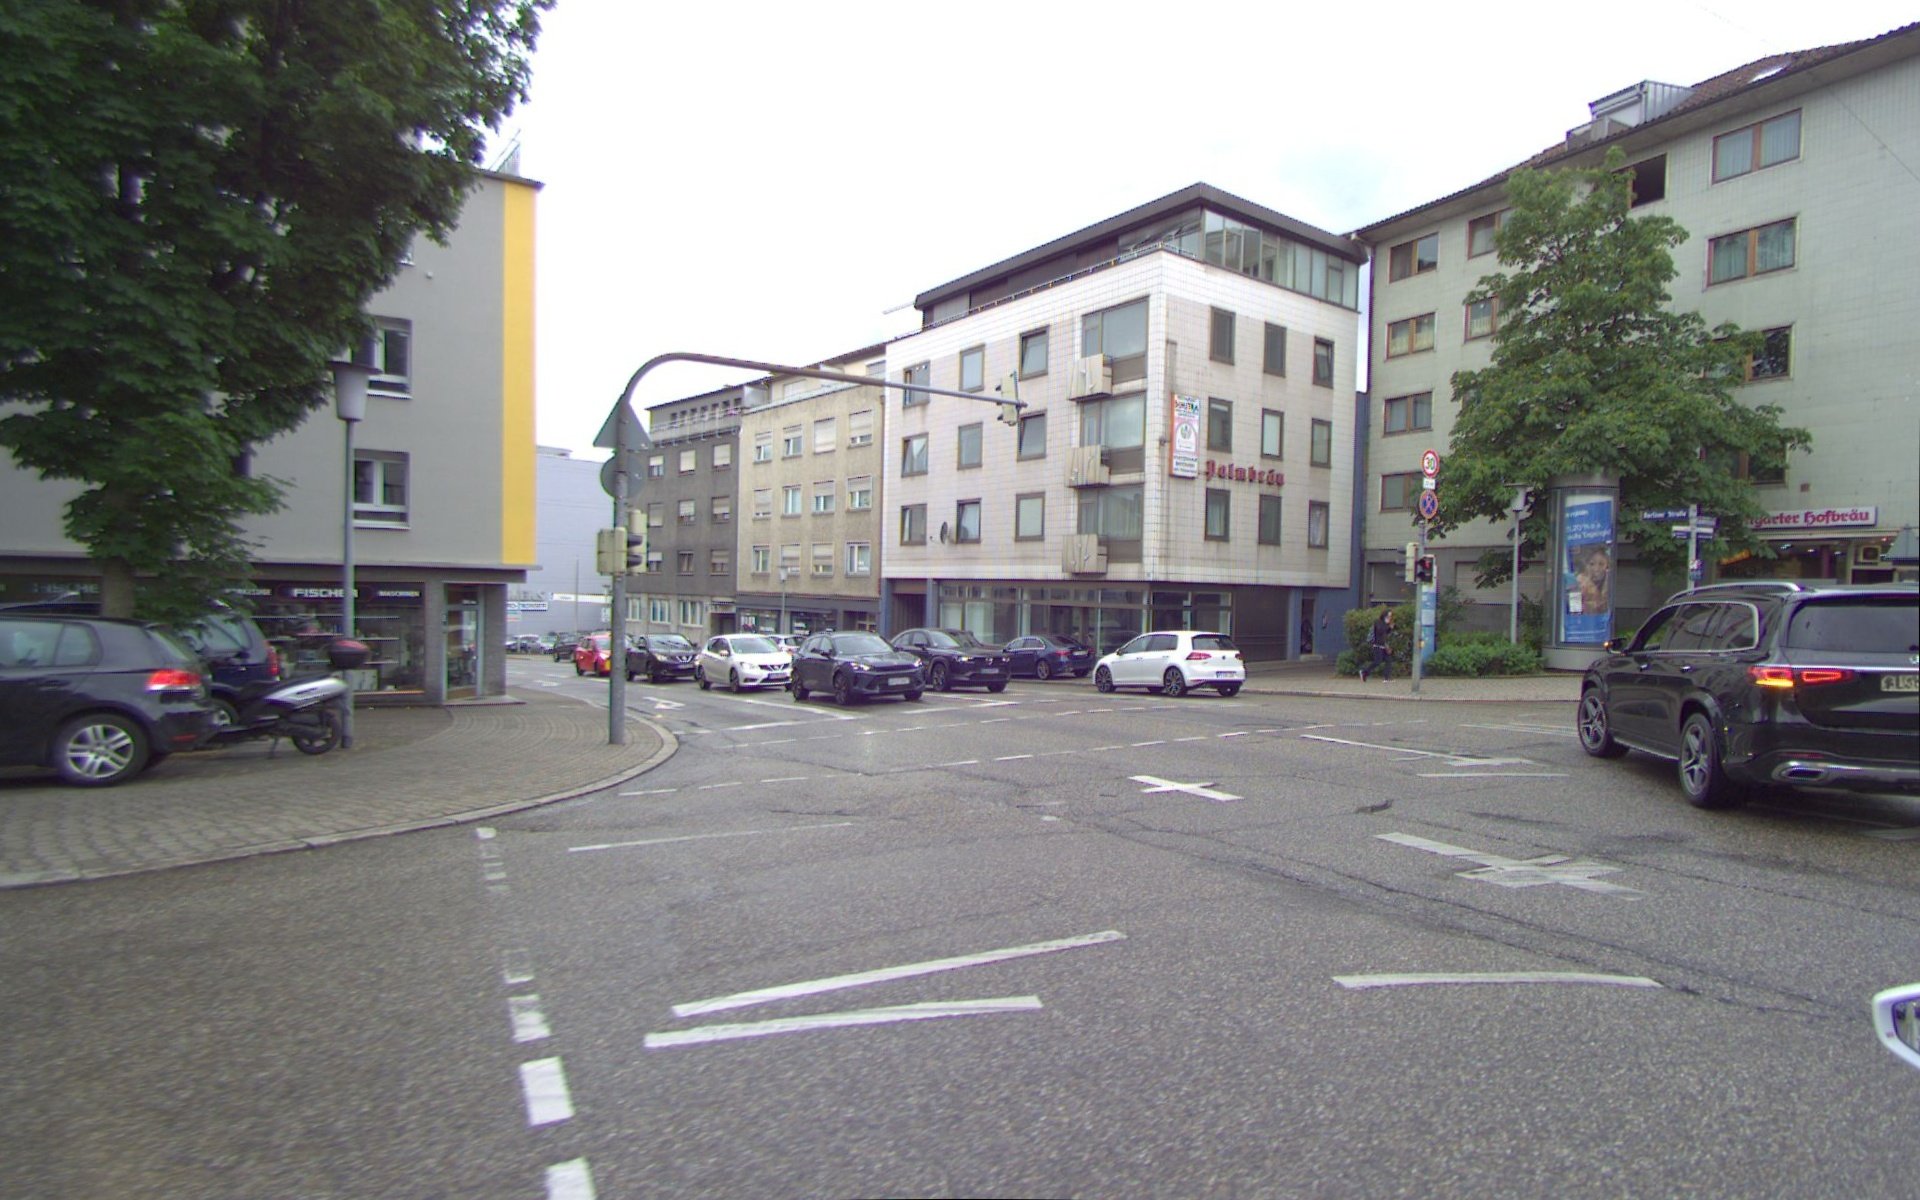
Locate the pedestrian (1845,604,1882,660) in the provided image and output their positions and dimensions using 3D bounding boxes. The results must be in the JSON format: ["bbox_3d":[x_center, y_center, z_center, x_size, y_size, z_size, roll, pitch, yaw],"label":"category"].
[{"bbox_3d":[23.671,0.835,26.312,0.572,1.418,0.516,2,1,-31],"label":"pedestrian"}]

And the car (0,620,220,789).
[{"bbox_3d":[-8.869,0.849,8.539,3.956,1.377,1.723,3,-3,-32],"label":"car"}]

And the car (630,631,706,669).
[{"bbox_3d":[-12.409,2.138,42.571,1.688,1.499,4.246,4,-4,-37],"label":"car"}]

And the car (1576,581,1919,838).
[{"bbox_3d":[7.324,0.798,9.151,1.987,1.762,4.747,0,-1,20],"label":"car"}]

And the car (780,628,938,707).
[{"bbox_3d":[-2.329,1.388,22.074,1.804,1.497,4.342,1,-1,-31],"label":"car"}]

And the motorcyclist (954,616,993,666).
[{"bbox_3d":[0.412,1.241,30.542,0.899,1.472,0.738,1,0,-38],"label":"motorcyclist"}]

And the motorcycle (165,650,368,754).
[{"bbox_3d":[-7.568,1.082,11.023,1.779,1.046,0.448,2,-2,-38],"label":"motorcycle"}]

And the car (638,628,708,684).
[{"bbox_3d":[-9.756,1.843,33.964,1.786,1.653,4.320,-2,-1,-22],"label":"car"}]

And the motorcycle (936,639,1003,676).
[{"bbox_3d":[0.269,1.737,30.713,0.858,1.019,2.226,2,-1,-39],"label":"motorcycle"}]

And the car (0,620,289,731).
[{"bbox_3d":[-12.803,1.136,15.361,3.973,1.515,1.838,3,-5,-43],"label":"car"}]

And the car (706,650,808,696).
[{"bbox_3d":[-7.450,2.597,36.570,1.797,1.541,4.512,1,-3,-38],"label":"car"}]

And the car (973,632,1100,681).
[{"bbox_3d":[2.418,1.840,32.861,1.752,1.410,4.337,-2,-1,-35],"label":"car"}]

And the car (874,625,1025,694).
[{"bbox_3d":[-0.365,1.468,25.019,1.804,1.557,4.343,1,-3,-31],"label":"car"}]

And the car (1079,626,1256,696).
[{"bbox_3d":[4.734,1.415,23.592,1.812,1.481,4.351,1,-3,-26],"label":"car"}]

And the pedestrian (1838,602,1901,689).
[{"bbox_3d":[18.397,0.911,20.337,0.697,1.670,0.758,2,4,26],"label":"pedestrian"}]

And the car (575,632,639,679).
[{"bbox_3d":[-13.847,2.130,39.255,1.592,1.617,3.745,1,0,-32],"label":"car"}]

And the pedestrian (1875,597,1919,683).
[{"bbox_3d":[19.254,0.798,20.423,0.697,1.670,0.758,2,4,26],"label":"pedestrian"}]

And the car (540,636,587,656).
[{"bbox_3d":[-30.275,3.525,76.645,1.790,1.496,4.428,3,-4,-43],"label":"car"}]

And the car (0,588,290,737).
[{"bbox_3d":[-11.634,0.821,13.621,1.836,1.817,3.975,-4,-4,44],"label":"car"}]

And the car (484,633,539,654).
[{"bbox_3d":[-37.588,3.683,84.197,1.766,1.617,3.997,-2,-4,26],"label":"car"}]

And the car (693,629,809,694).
[{"bbox_3d":[-5.814,1.625,27.600,1.792,1.563,4.342,1,-1,-31],"label":"car"}]

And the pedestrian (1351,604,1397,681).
[{"bbox_3d":[10.203,1.035,24.790,0.740,1.842,0.917,-1,1,0],"label":"pedestrian"}]

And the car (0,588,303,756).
[{"bbox_3d":[-10.324,0.827,11.511,1.746,1.750,4.330,-3,-5,38],"label":"car"}]
